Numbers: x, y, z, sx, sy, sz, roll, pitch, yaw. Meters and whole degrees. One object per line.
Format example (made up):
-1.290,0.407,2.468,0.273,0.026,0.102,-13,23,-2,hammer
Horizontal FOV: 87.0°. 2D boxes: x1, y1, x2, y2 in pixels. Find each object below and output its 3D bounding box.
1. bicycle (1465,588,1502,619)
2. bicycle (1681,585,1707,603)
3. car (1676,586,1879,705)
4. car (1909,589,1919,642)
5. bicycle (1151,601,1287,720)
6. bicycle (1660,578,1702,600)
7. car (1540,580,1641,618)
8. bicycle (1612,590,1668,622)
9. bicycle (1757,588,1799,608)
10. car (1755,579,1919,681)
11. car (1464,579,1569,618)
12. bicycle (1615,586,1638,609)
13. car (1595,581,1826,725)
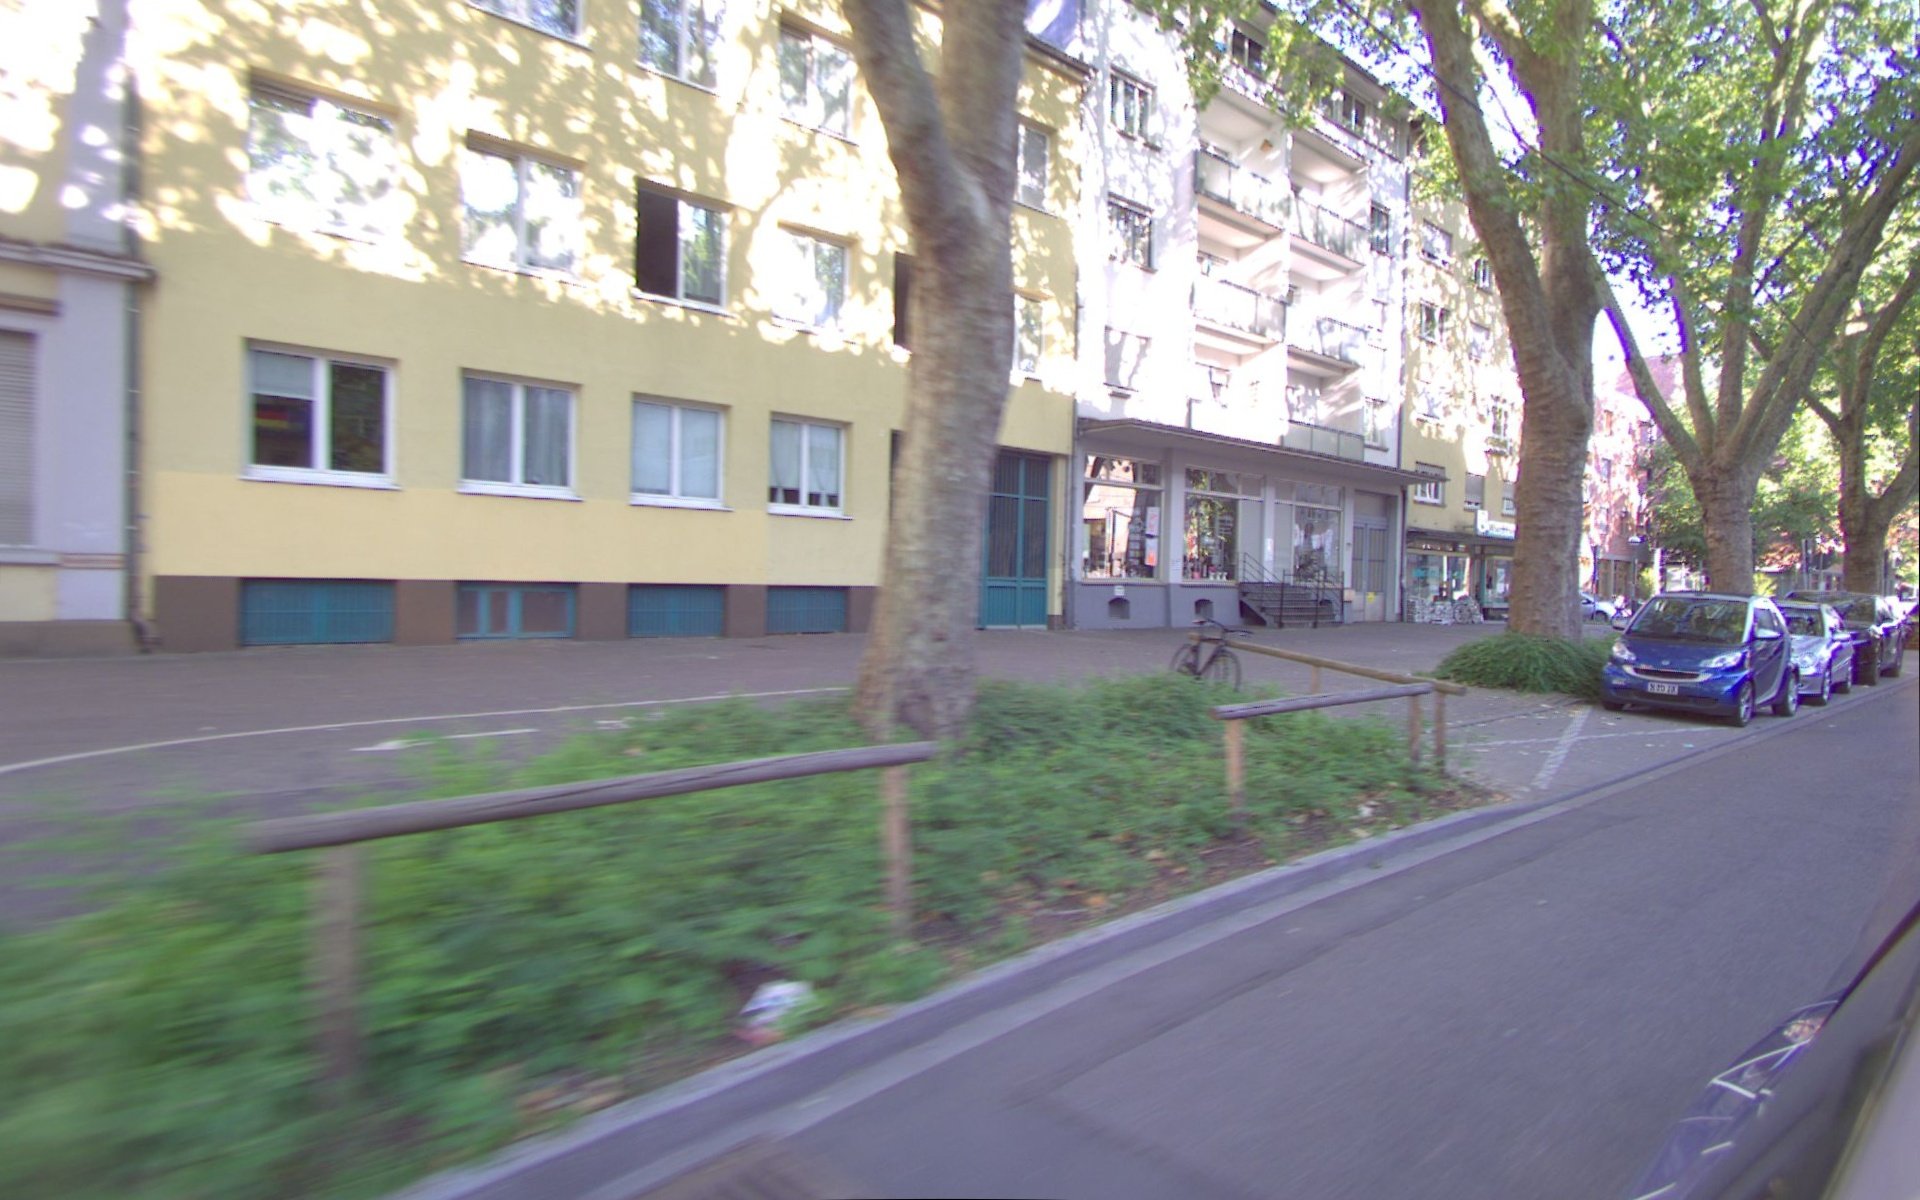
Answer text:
17.989,0.117,34.764,1.751,1.009,0.571,-1,4,-45,bicycle
52.685,-0.426,72.655,1.997,1.170,0.709,1,3,-30,bicycle
12.779,0.575,15.714,4.527,1.453,1.819,-1,4,-43,car
29.507,0.459,29.826,4.925,1.480,1.768,0,2,-42,car
2.743,0.604,10.952,0.500,1.017,1.975,2,4,-14,bicycle
42.935,-0.655,60.274,0.560,1.170,1.939,1,3,-24,bicycle
31.215,-0.065,50.181,1.833,1.713,3.871,0,2,-39,car
28.127,0.242,41.880,1.781,1.170,0.738,4,3,29,bicycle
54.407,-0.157,67.345,0.561,1.170,2.039,1,3,-34,bicycle
16.790,0.451,19.176,4.700,1.622,1.861,-1,4,-42,car
26.032,-0.084,47.396,1.832,1.572,3.871,3,0,-39,car
35.338,-0.135,53.646,1.670,1.170,0.600,-1,4,-45,bicycle
9.461,0.562,12.730,2.857,1.537,1.568,-1,4,-38,car
